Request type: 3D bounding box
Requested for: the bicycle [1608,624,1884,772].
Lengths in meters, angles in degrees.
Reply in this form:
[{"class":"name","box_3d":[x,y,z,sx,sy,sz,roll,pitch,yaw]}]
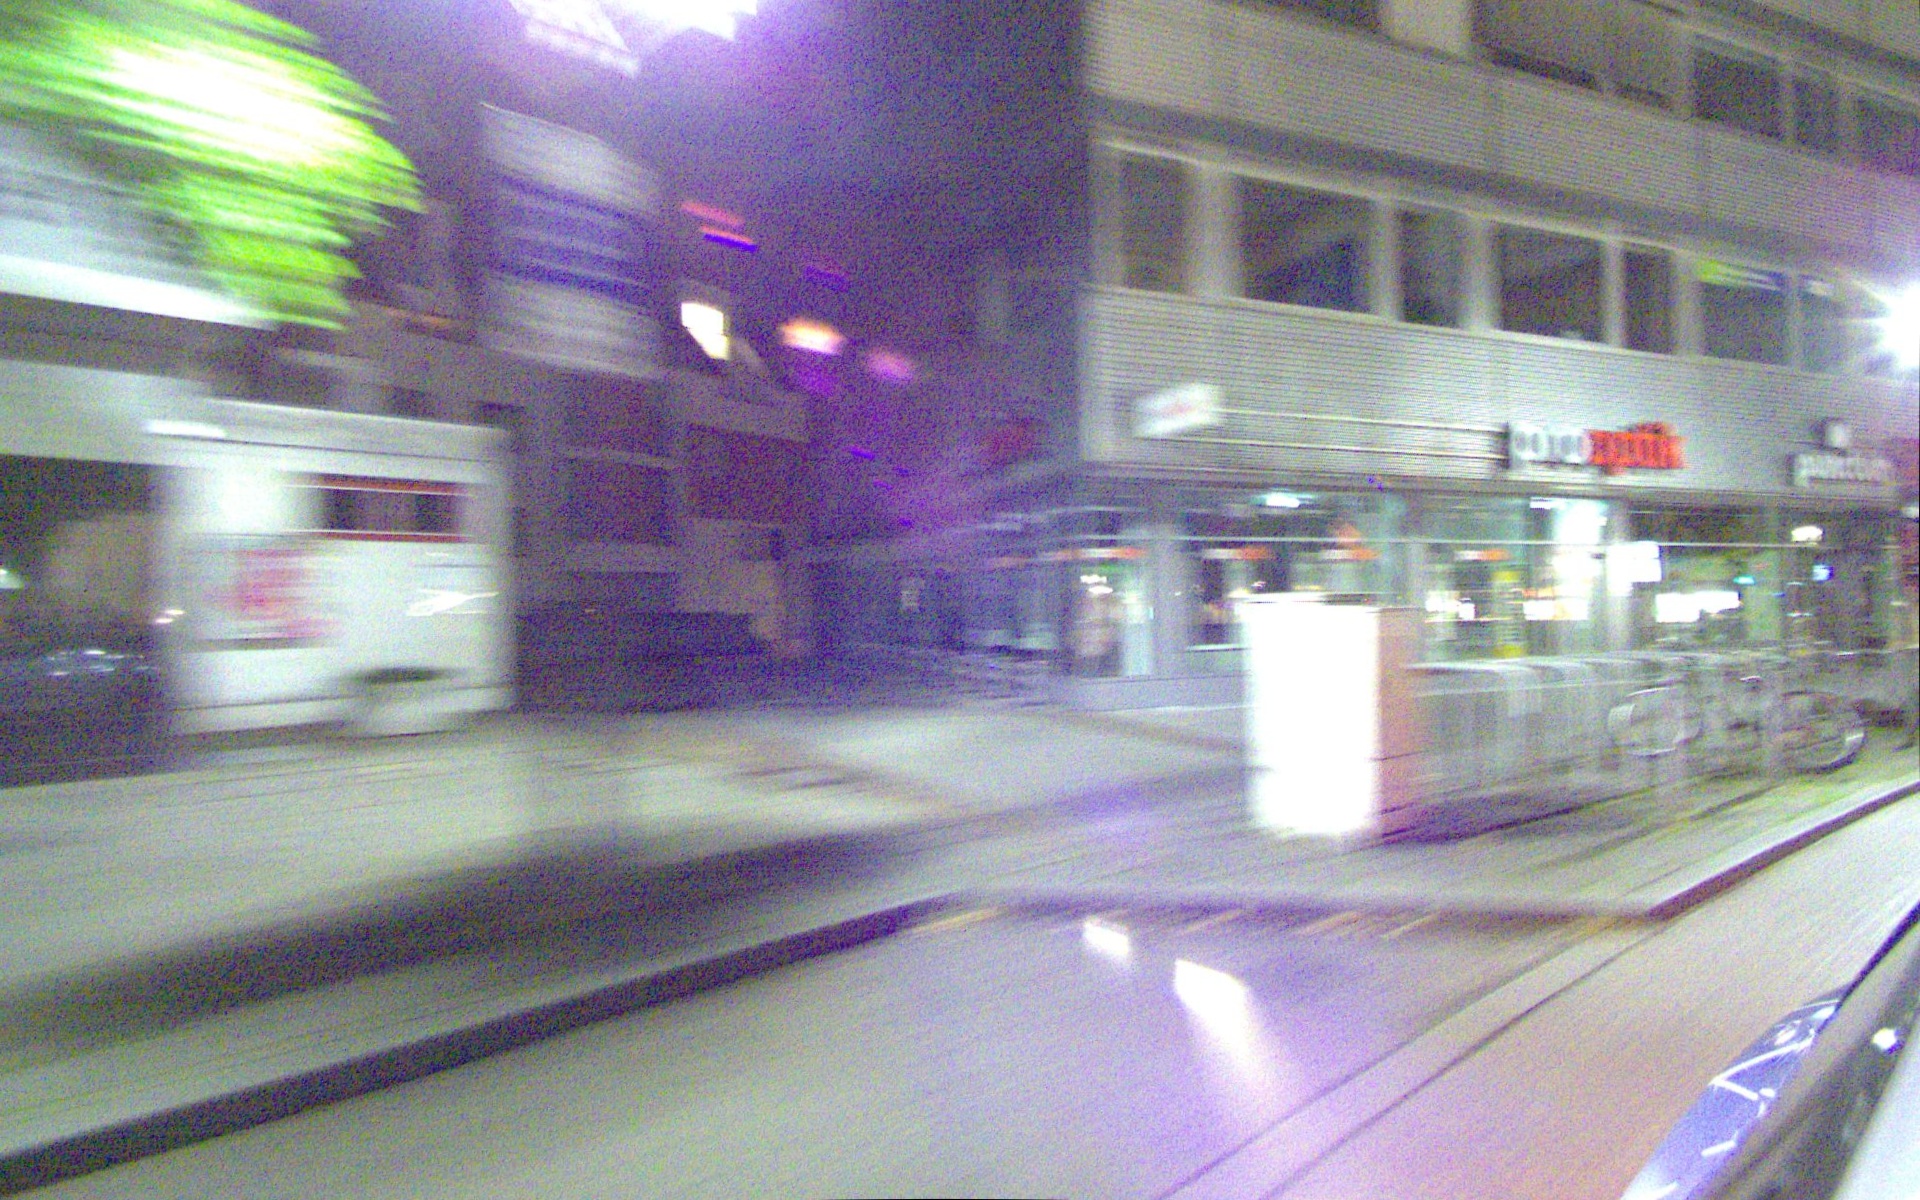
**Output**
[{"class":"bicycle","box_3d":[6.485,0.751,8.418,1.750,1.076,0.645,0,-1,45]}]
